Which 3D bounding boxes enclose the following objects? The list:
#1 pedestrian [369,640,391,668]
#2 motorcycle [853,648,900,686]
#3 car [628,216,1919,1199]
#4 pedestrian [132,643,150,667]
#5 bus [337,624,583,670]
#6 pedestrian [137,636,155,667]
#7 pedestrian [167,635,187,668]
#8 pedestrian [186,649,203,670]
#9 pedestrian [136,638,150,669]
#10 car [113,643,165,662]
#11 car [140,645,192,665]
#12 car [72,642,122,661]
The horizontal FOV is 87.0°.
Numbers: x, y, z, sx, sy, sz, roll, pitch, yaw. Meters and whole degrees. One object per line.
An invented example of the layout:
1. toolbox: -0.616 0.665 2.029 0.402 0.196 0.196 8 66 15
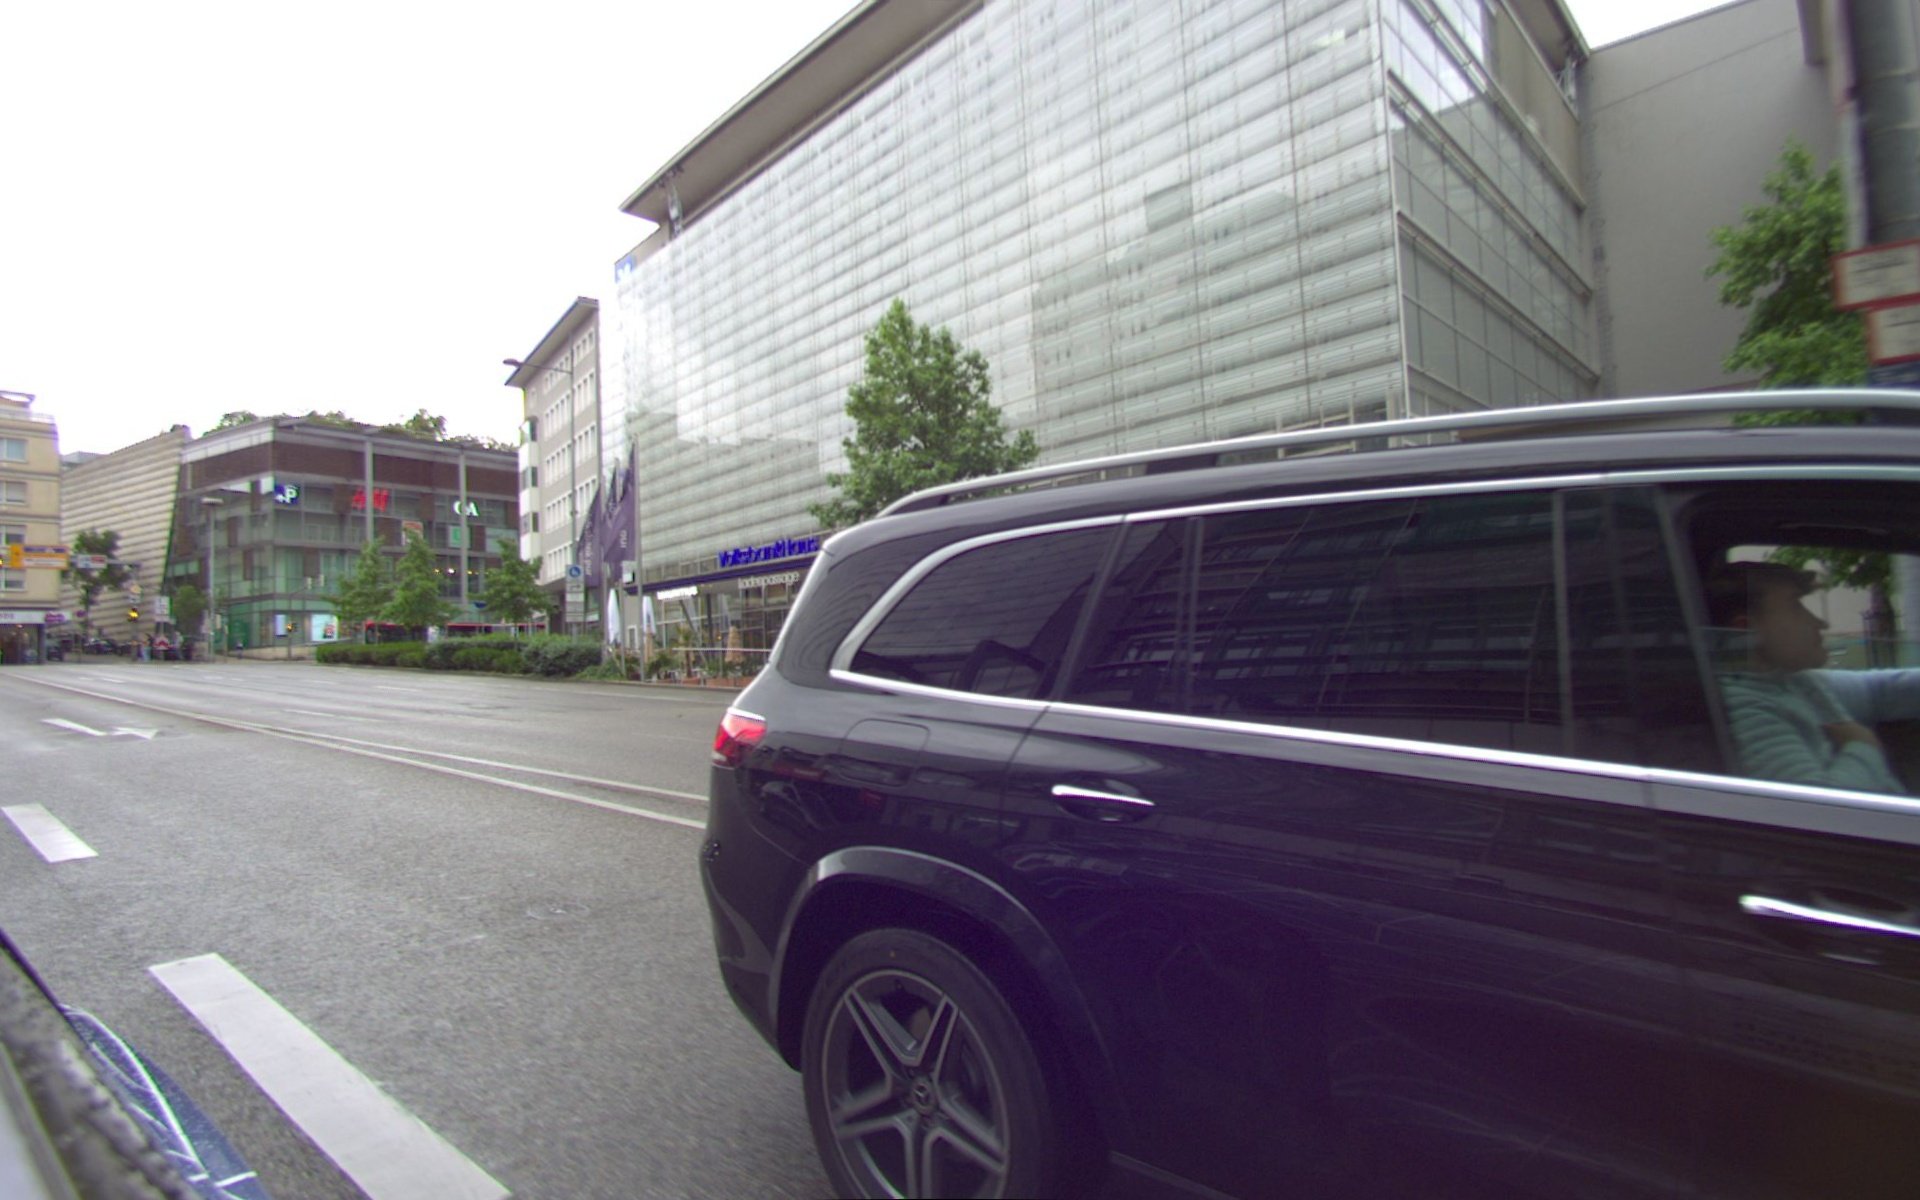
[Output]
1. pedestrian: -37.387 3.462 65.270 1.022 1.789 0.791 -2 -4 32
2. motorcycle: -2.990 2.386 36.379 1.529 1.305 0.770 1 -3 -43
3. car: 1.595 0.485 1.986 4.789 1.830 2.066 -3 -1 41
4. pedestrian: -45.821 3.065 56.636 0.630 1.350 0.581 -2 -3 32
5. bus: -39.533 3.854 81.492 2.926 3.346 18.236 -4 -5 39
6. pedestrian: -44.903 2.851 55.825 0.629 1.702 0.784 2 -4 -44
7. pedestrian: -43.357 2.861 56.043 0.829 1.792 0.611 -2 -3 32
8. pedestrian: -64.024 4.975 84.648 1.044 1.775 0.689 -3 -5 27
9. pedestrian: -45.412 2.974 56.248 0.571 1.681 0.494 -5 -5 44
10. car: -69.430 4.431 85.529 4.360 1.558 1.881 -1 -1 28
11. car: -64.753 4.450 82.517 4.276 1.558 1.788 -1 -3 28
12. car: -75.811 4.548 88.906 4.360 1.558 1.881 -1 -1 28
